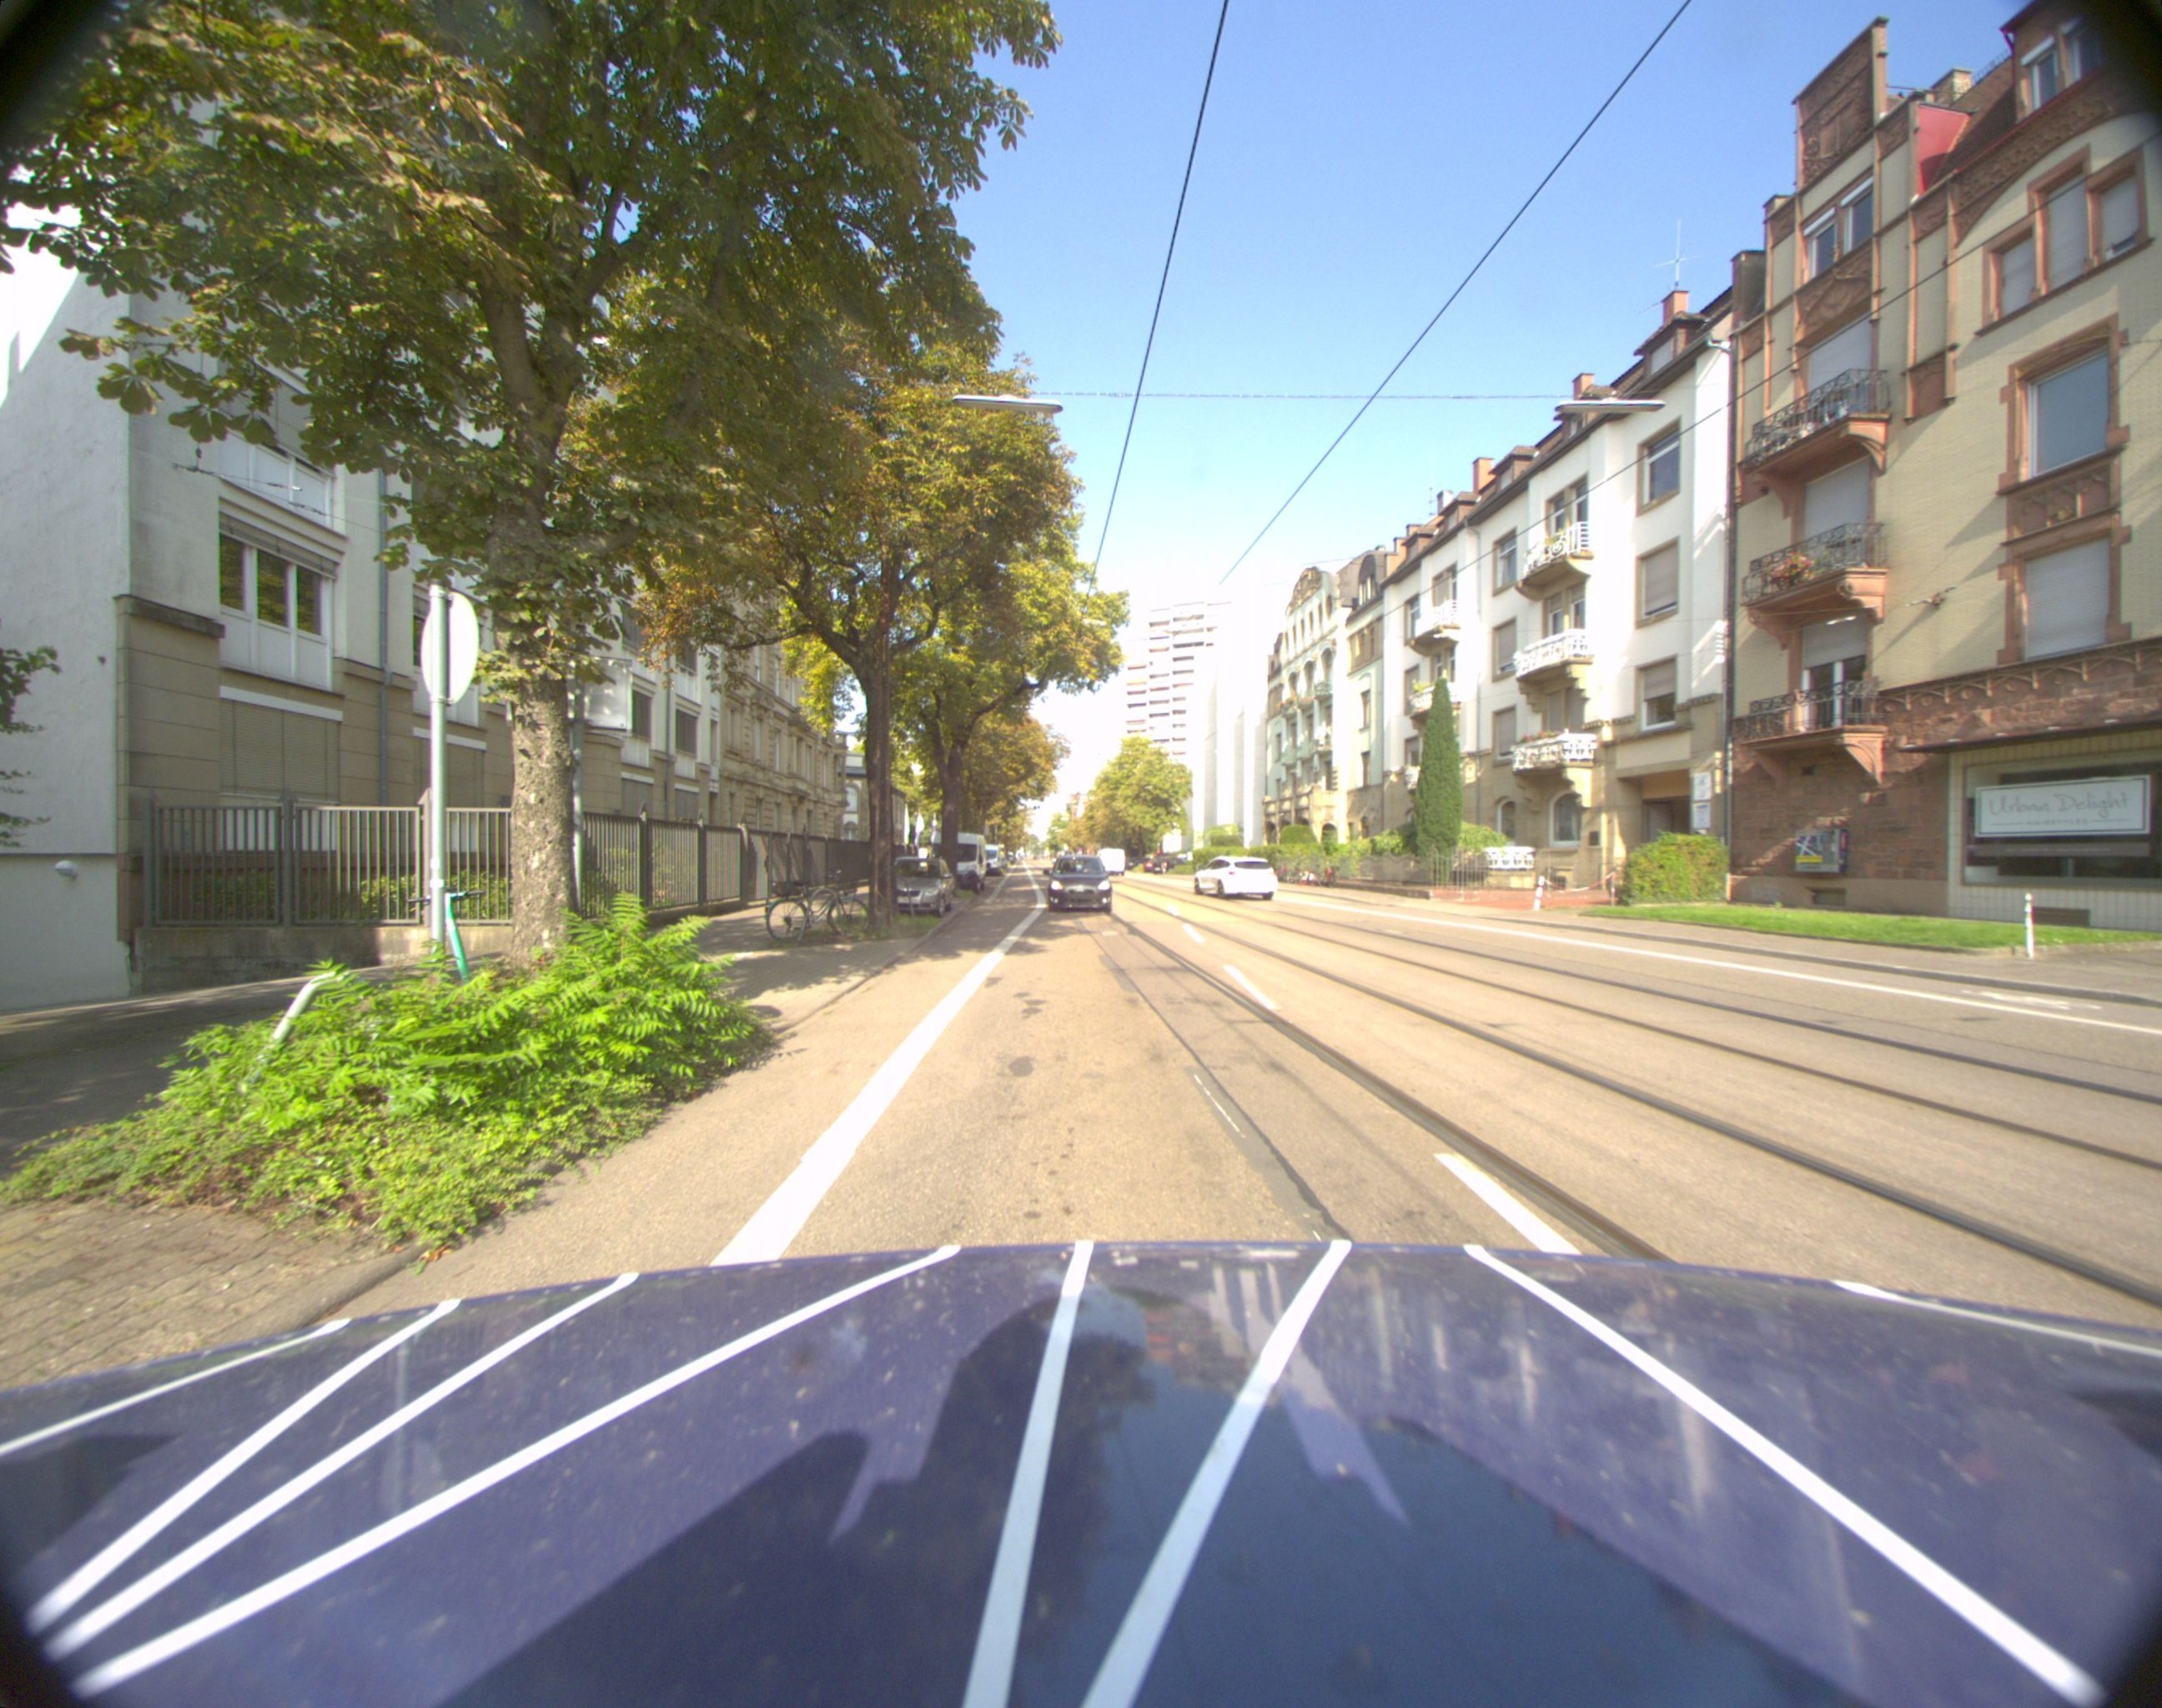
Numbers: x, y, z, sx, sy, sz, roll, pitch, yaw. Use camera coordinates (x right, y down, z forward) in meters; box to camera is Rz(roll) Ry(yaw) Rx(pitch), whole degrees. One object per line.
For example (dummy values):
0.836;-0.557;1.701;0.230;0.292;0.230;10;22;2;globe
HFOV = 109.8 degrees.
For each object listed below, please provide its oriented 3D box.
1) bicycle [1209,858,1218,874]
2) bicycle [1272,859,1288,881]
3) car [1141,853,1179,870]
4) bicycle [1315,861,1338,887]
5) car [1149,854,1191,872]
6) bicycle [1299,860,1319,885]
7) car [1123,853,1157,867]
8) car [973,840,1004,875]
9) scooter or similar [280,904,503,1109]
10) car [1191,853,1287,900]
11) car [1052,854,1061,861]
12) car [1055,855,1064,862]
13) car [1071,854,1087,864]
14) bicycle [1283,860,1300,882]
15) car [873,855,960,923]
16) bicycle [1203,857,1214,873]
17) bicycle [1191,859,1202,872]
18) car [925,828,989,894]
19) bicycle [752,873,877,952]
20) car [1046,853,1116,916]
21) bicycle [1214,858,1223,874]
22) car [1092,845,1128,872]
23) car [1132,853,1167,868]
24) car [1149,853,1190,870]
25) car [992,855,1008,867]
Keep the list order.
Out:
9.054;0.790;51.891;0.425;1.081;1.677;0;0;5;bicycle
10.232;0.824;39.027;0.371;1.081;1.354;0;0;-5;bicycle
7.607;0.684;72.583;1.767;1.518;4.009;1;0;37;car
10.559;0.847;32.733;0.371;1.081;1.487;0;0;-5;bicycle
7.741;0.741;65.947;1.767;1.518;4.009;1;0;37;car
10.342;0.834;34.496;0.371;1.081;1.354;0;0;-5;bicycle
6.479;0.630;82.843;1.767;1.518;4.009;1;0;37;car
-7.105;0.258;58.863;1.999;2.526;5.865;2;0;-4;car
-4.755;0.998;5.320;0.559;1.190;1.034;3;1;1;scooter or similar
5.434;0.731;26.761;1.878;1.446;4.542;3;0;-7;car
-5.143;0.734;160.204;1.758;1.349;3.786;0;0;-5;car
-4.102;0.903;143.998;1.758;1.349;3.787;0;0;-3;car
-0.311;0.660;103.290;1.701;1.395;4.643;-1;1;-5;car
10.310;0.820;37.258;0.371;1.081;1.354;0;0;-5;bicycle
-4.260;0.843;20.270;1.611;1.515;4.355;3;0;-4;car
9.030;0.780;53.905;0.425;1.081;1.676;0;0;-2;bicycle
8.668;0.864;57.220;0.426;0.972;1.769;0;0;-5;bicycle
-5.081;0.277;31.970;2.052;2.484;6.226;1;0;-4;car
-4.369;0.939;12.557;1.846;1.160;0.503;2;5;-44;bicycle
-0.100;0.755;21.148;1.611;1.515;4.355;-1;0;-4;car
9.264;0.804;51.095;0.425;1.081;1.677;0;0;5;bicycle
2.225;0.320;59.366;2.000;2.002;4.856;0;0;-7;car
7.255;0.667;80.039;1.767;1.518;4.009;1;0;37;car
8.161;0.691;69.774;1.767;1.518;4.009;1;0;42;car
-9.290;0.769;87.123;1.758;1.349;3.786;0;0;-5;car
